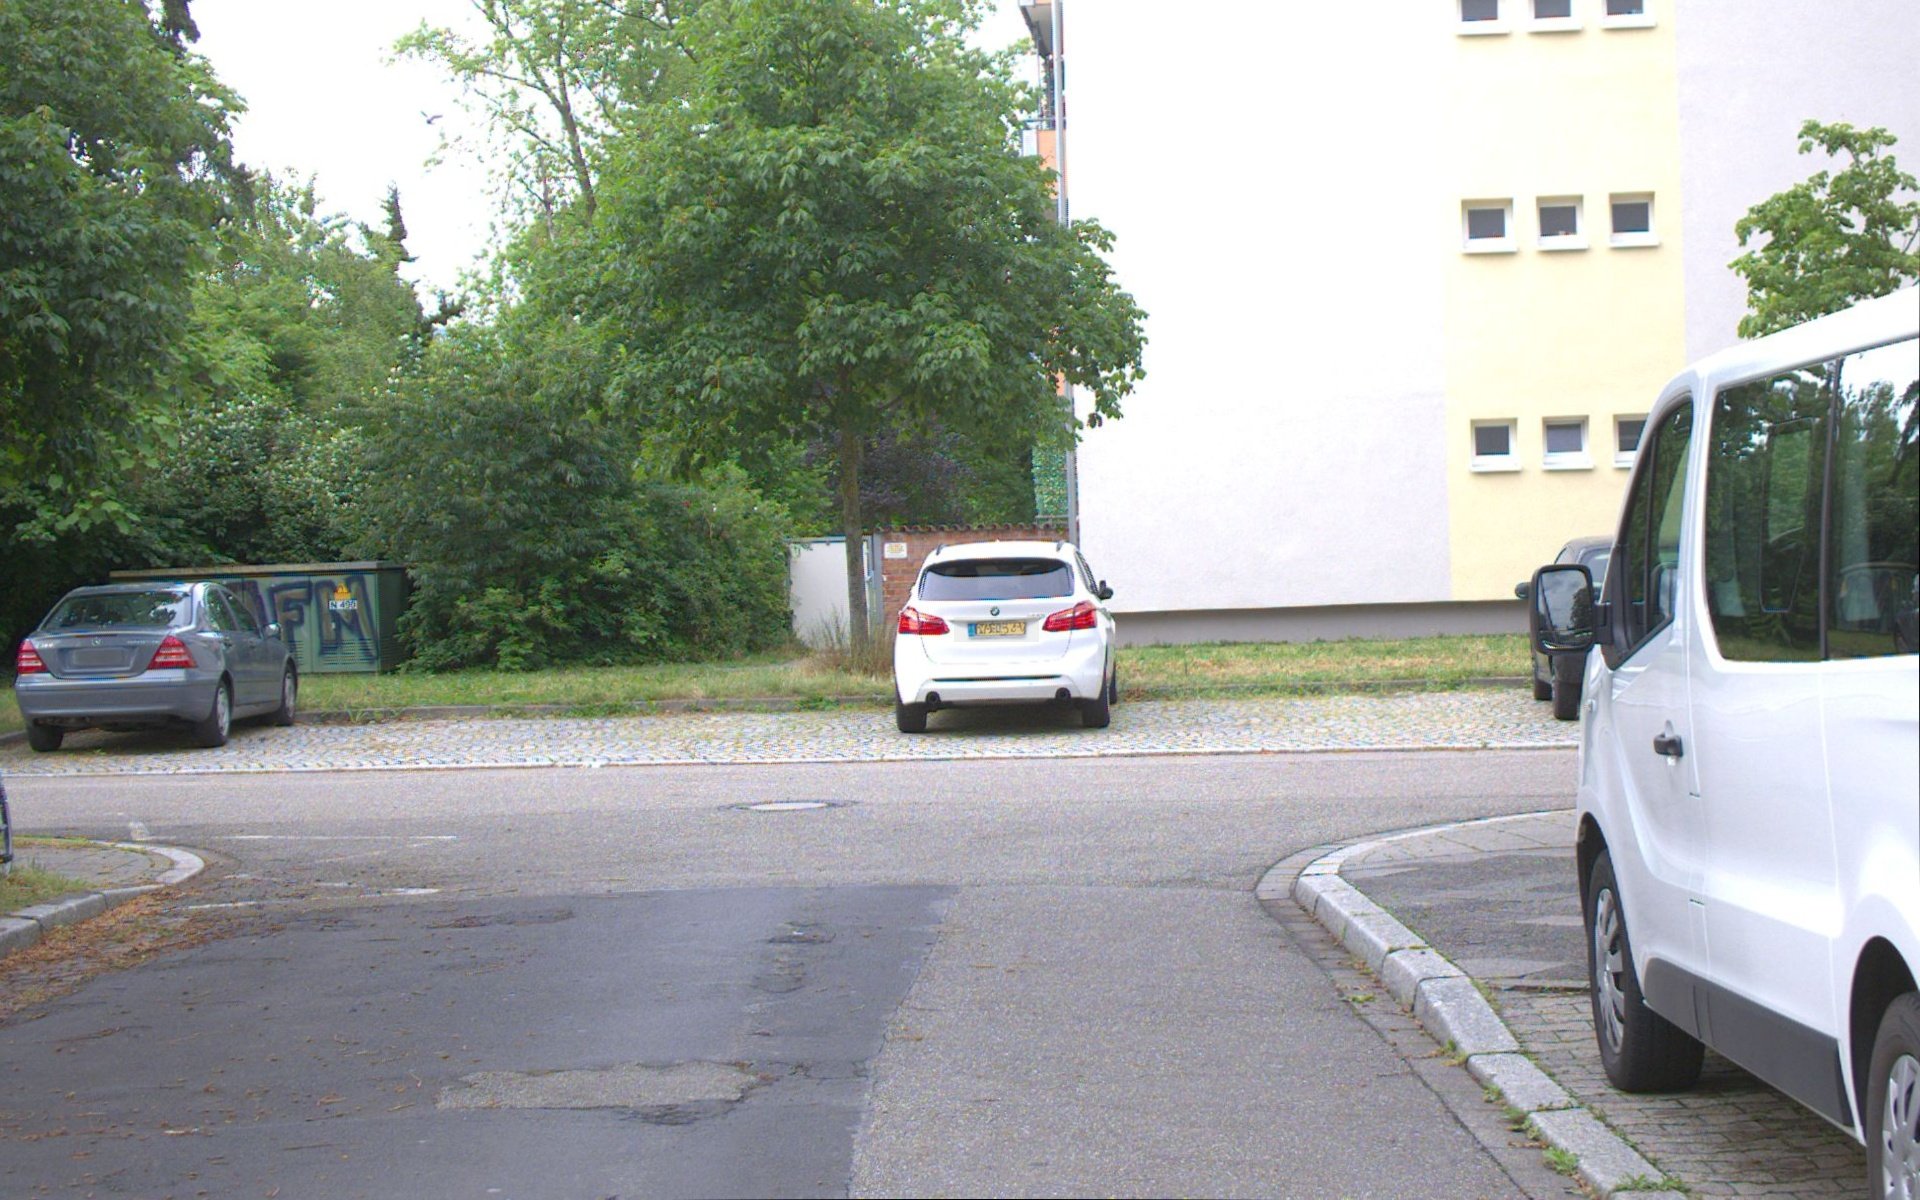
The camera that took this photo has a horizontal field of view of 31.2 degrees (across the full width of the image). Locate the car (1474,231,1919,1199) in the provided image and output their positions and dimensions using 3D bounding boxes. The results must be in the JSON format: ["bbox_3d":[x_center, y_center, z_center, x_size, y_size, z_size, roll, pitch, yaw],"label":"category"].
[{"bbox_3d":[2.521,0.282,7.664,1.878,1.989,5.013,-3,2,0],"label":"car"}]

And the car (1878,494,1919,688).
[{"bbox_3d":[8.998,-0.100,29.161,1.836,1.560,4.356,-2,2,9],"label":"car"}]

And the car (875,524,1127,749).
[{"bbox_3d":[0.433,0.257,30.026,1.879,1.555,4.149,-1,5,5],"label":"car"}]

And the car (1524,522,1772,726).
[{"bbox_3d":[5.845,0.141,29.616,1.836,1.458,4.559,-2,2,9],"label":"car"}]

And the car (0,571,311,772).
[{"bbox_3d":[-7.108,0.575,30.698,1.674,1.449,4.561,-2,2,1],"label":"car"}]

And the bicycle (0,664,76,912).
[{"bbox_3d":[-4.350,0.822,15.007,0.510,0.982,2.183,0,2,-3],"label":"bicycle"}]
